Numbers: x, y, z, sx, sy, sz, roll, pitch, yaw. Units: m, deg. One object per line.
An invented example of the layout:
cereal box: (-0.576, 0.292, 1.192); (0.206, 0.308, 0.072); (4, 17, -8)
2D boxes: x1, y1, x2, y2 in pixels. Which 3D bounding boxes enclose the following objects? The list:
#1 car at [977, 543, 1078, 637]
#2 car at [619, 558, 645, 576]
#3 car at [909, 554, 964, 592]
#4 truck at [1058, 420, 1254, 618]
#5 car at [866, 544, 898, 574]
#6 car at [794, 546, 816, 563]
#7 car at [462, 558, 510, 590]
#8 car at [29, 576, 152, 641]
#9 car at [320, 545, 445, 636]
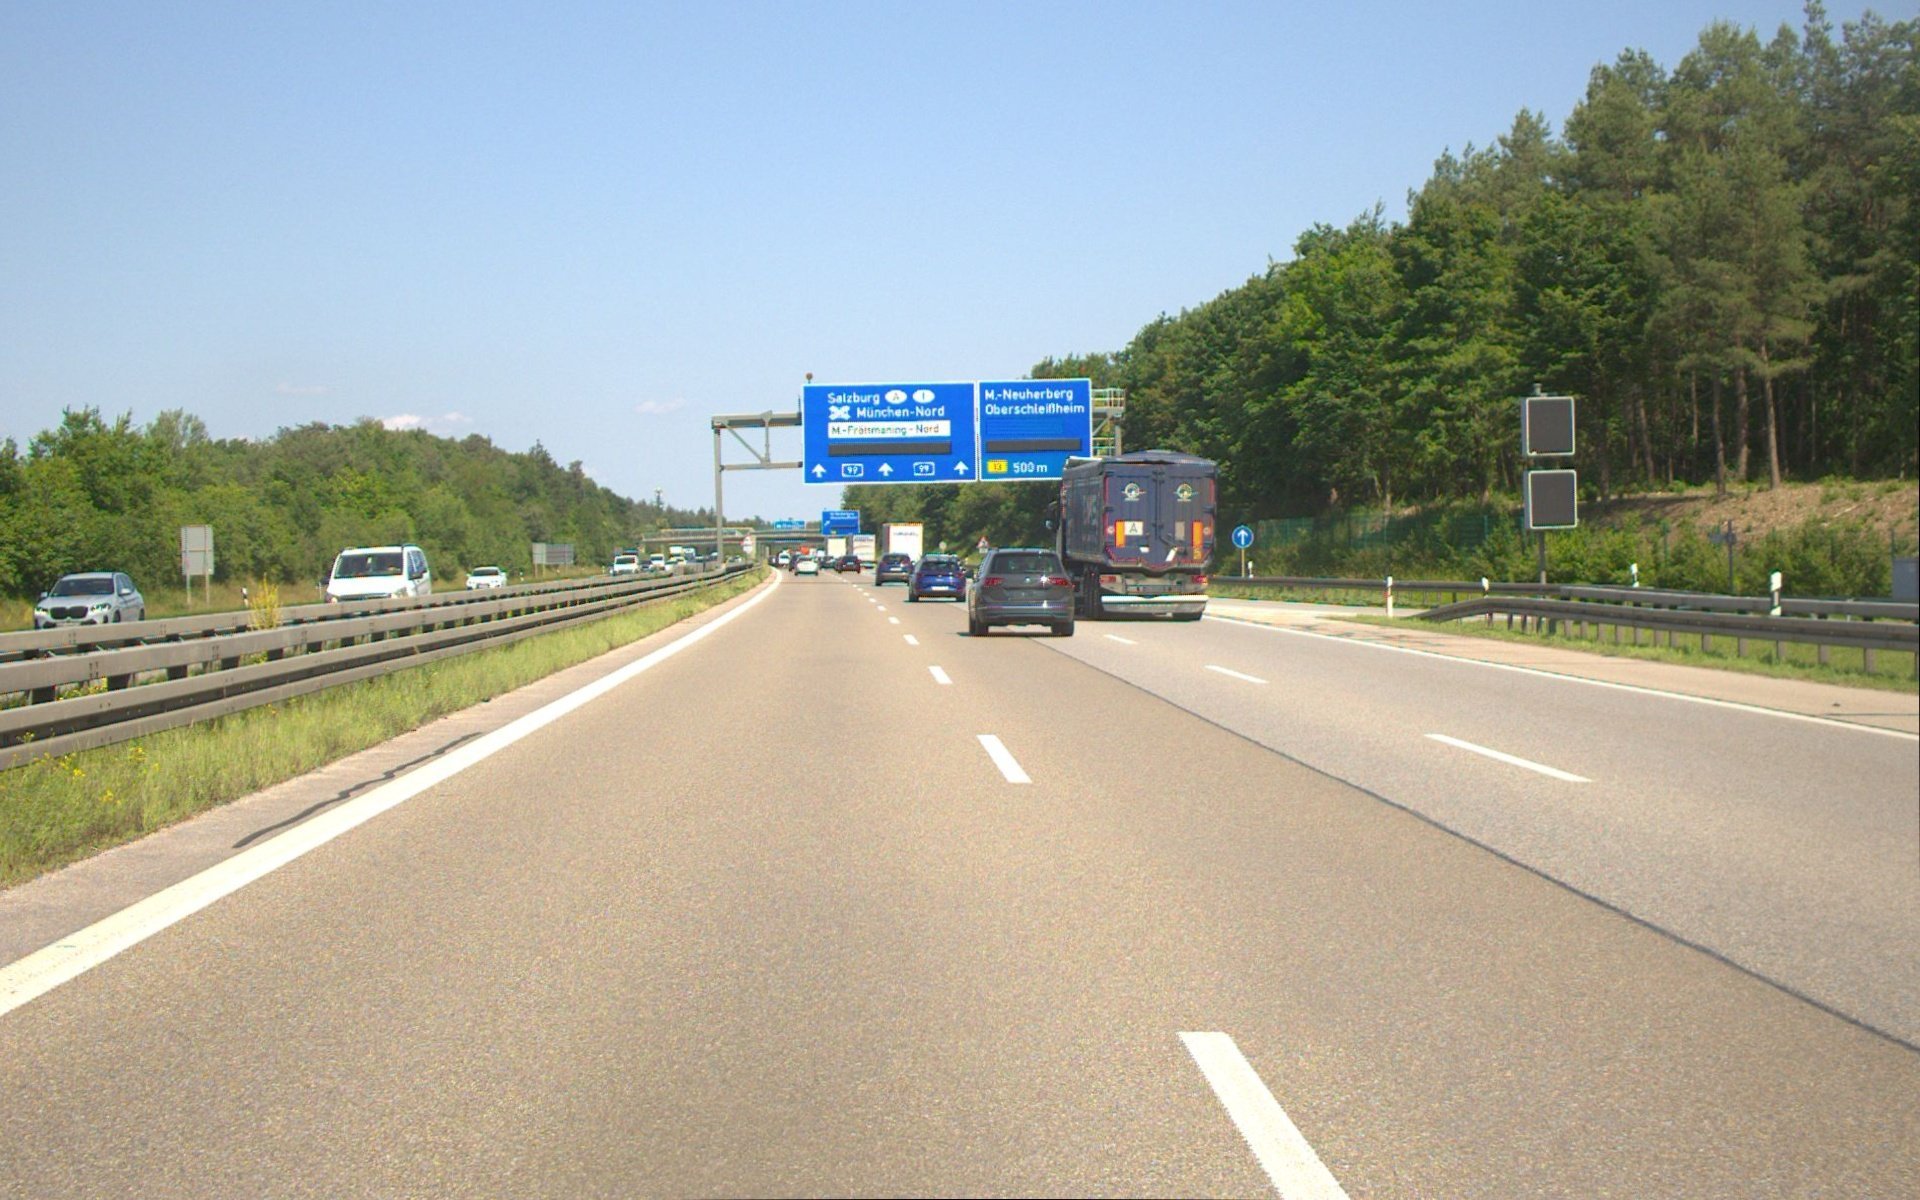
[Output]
car: (1.291, -0.216, 64.209); (1.799, 1.663, 4.258); (1, 1, 2)
car: (-24.241, -2.482, 254.296); (1.604, 1.295, 3.791); (0, 1, -1)
car: (-0.769, -0.877, 110.687); (1.708, 1.151, 3.689); (-1, 1, -1)
truck: (4.569, -1.951, 83.751); (3.780, 4.407, 14.052); (0, 1, -1)
car: (-3.819, -2.004, 168.374); (1.471, 1.393, 3.410); (2, 1, -1)
car: (-11.382, -3.346, 252.255); (1.471, 1.223, 3.410); (-1, 1, -1)
car: (-24.875, -1.376, 180.621); (1.993, 1.588, 4.301); (-1, 1, -1)
car: (-20.464, 0.181, 81.059); (1.788, 1.434, 4.521); (0, 1, -1)
car: (-12.793, -0.246, 76.491); (1.920, 1.866, 5.518); (2, 1, -1)
